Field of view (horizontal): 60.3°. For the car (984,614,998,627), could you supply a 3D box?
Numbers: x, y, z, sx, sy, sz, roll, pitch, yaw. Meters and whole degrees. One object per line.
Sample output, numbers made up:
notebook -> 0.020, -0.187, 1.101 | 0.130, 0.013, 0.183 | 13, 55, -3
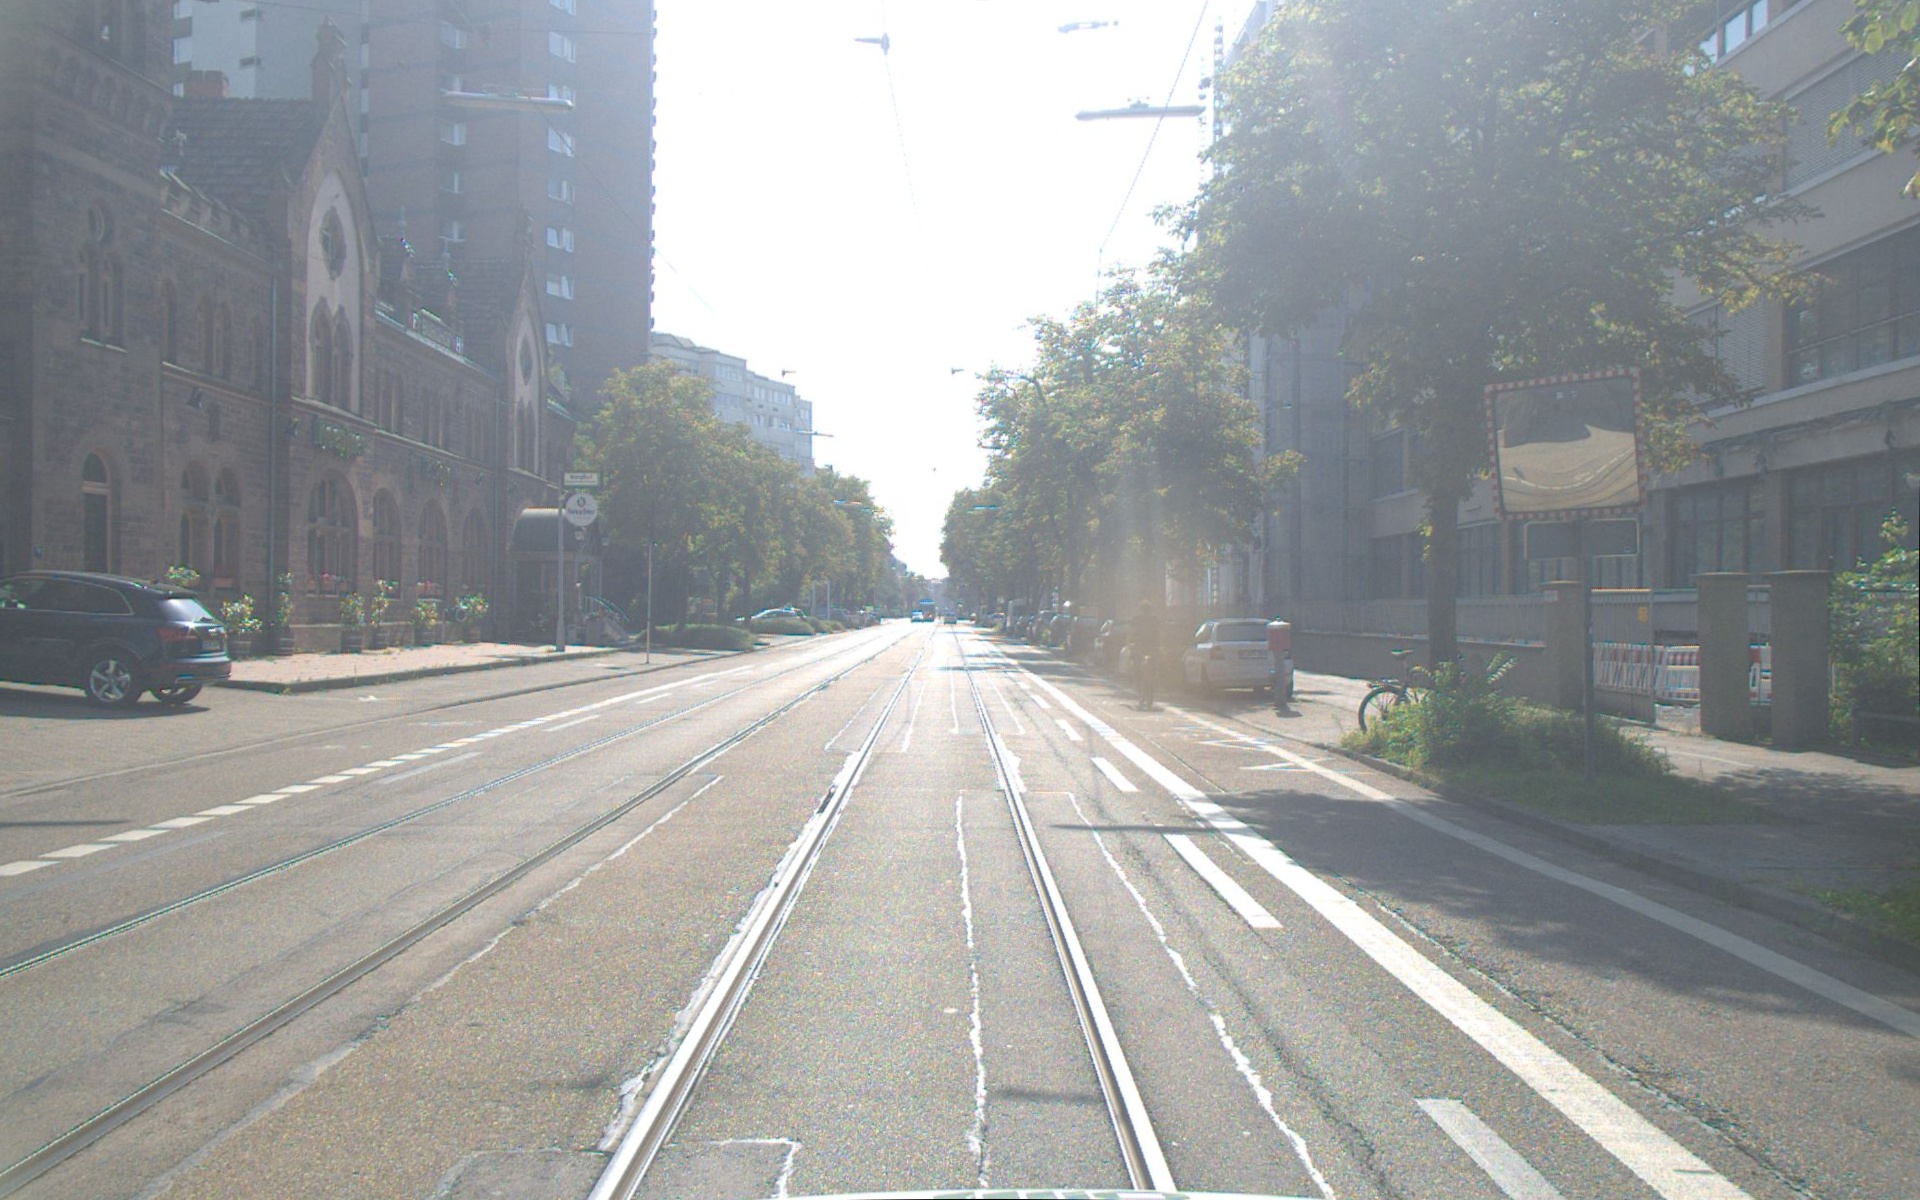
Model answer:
car -> 3.392, 2.285, 182.415 | 1.562, 1.443, 3.634 | 1, -1, 0

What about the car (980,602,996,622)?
car -> 3.555, 1.530, 210.657 | 1.963, 2.534, 4.476 | 0, -2, 0

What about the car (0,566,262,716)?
car -> -11.851, 0.473, 21.871 | 4.310, 1.674, 1.955 | 4, -1, -3

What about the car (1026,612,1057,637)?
car -> 4.722, 1.398, 96.027 | 1.583, 1.438, 3.999 | 0, -1, 0

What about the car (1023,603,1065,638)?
car -> 4.312, 1.056, 85.252 | 1.718, 1.721, 4.394 | 1, 0, -2

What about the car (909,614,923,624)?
car -> -5.980, 2.572, 224.788 | 1.791, 1.400, 4.511 | 1, -1, -1

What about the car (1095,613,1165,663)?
car -> 5.142, 1.124, 50.315 | 1.613, 1.453, 4.083 | 0, 0, -1

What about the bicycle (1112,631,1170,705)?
bicycle -> 3.048, 1.126, 28.051 | 0.770, 1.164, 2.305 | 1, -1, 1

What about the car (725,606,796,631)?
car -> -12.101, 1.124, 100.323 | 3.945, 1.505, 1.771 | 1, -1, -30

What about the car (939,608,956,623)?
car -> -1.536, 1.967, 206.787 | 1.952, 1.870, 4.000 | 1, -1, 1

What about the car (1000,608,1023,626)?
car -> 4.212, 1.418, 135.395 | 1.718, 1.402, 4.718 | -1, -1, 0

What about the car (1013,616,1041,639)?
car -> 4.278, 1.747, 105.806 | 1.583, 1.398, 4.827 | 0, -1, 0

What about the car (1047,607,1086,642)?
car -> 4.799, 1.088, 74.901 | 1.543, 1.511, 3.738 | -1, 0, 0

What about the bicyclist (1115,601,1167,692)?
bicyclist -> 3.056, 0.780, 28.047 | 0.770, 1.495, 1.116 | 1, -1, 1

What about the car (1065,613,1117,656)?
car -> 4.859, 1.273, 61.863 | 1.612, 1.537, 3.778 | -1, -1, 0

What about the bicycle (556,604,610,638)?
bicycle -> -13.654, 0.758, 59.924 | 1.778, 1.093, 0.418 | 6, -3, -23

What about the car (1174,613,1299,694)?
car -> 5.271, 0.991, 31.932 | 1.607, 1.455, 3.987 | 0, -1, -2

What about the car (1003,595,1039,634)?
car -> 4.237, 1.009, 116.241 | 2.040, 2.597, 5.499 | -3, -1, -2

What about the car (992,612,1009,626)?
car -> 4.086, 1.921, 168.737 | 1.655, 1.443, 3.634 | 1, -1, 0

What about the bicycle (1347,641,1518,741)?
bicycle -> 5.491, 1.047, 19.293 | 1.733, 1.082, 0.796 | -1, -1, -3
